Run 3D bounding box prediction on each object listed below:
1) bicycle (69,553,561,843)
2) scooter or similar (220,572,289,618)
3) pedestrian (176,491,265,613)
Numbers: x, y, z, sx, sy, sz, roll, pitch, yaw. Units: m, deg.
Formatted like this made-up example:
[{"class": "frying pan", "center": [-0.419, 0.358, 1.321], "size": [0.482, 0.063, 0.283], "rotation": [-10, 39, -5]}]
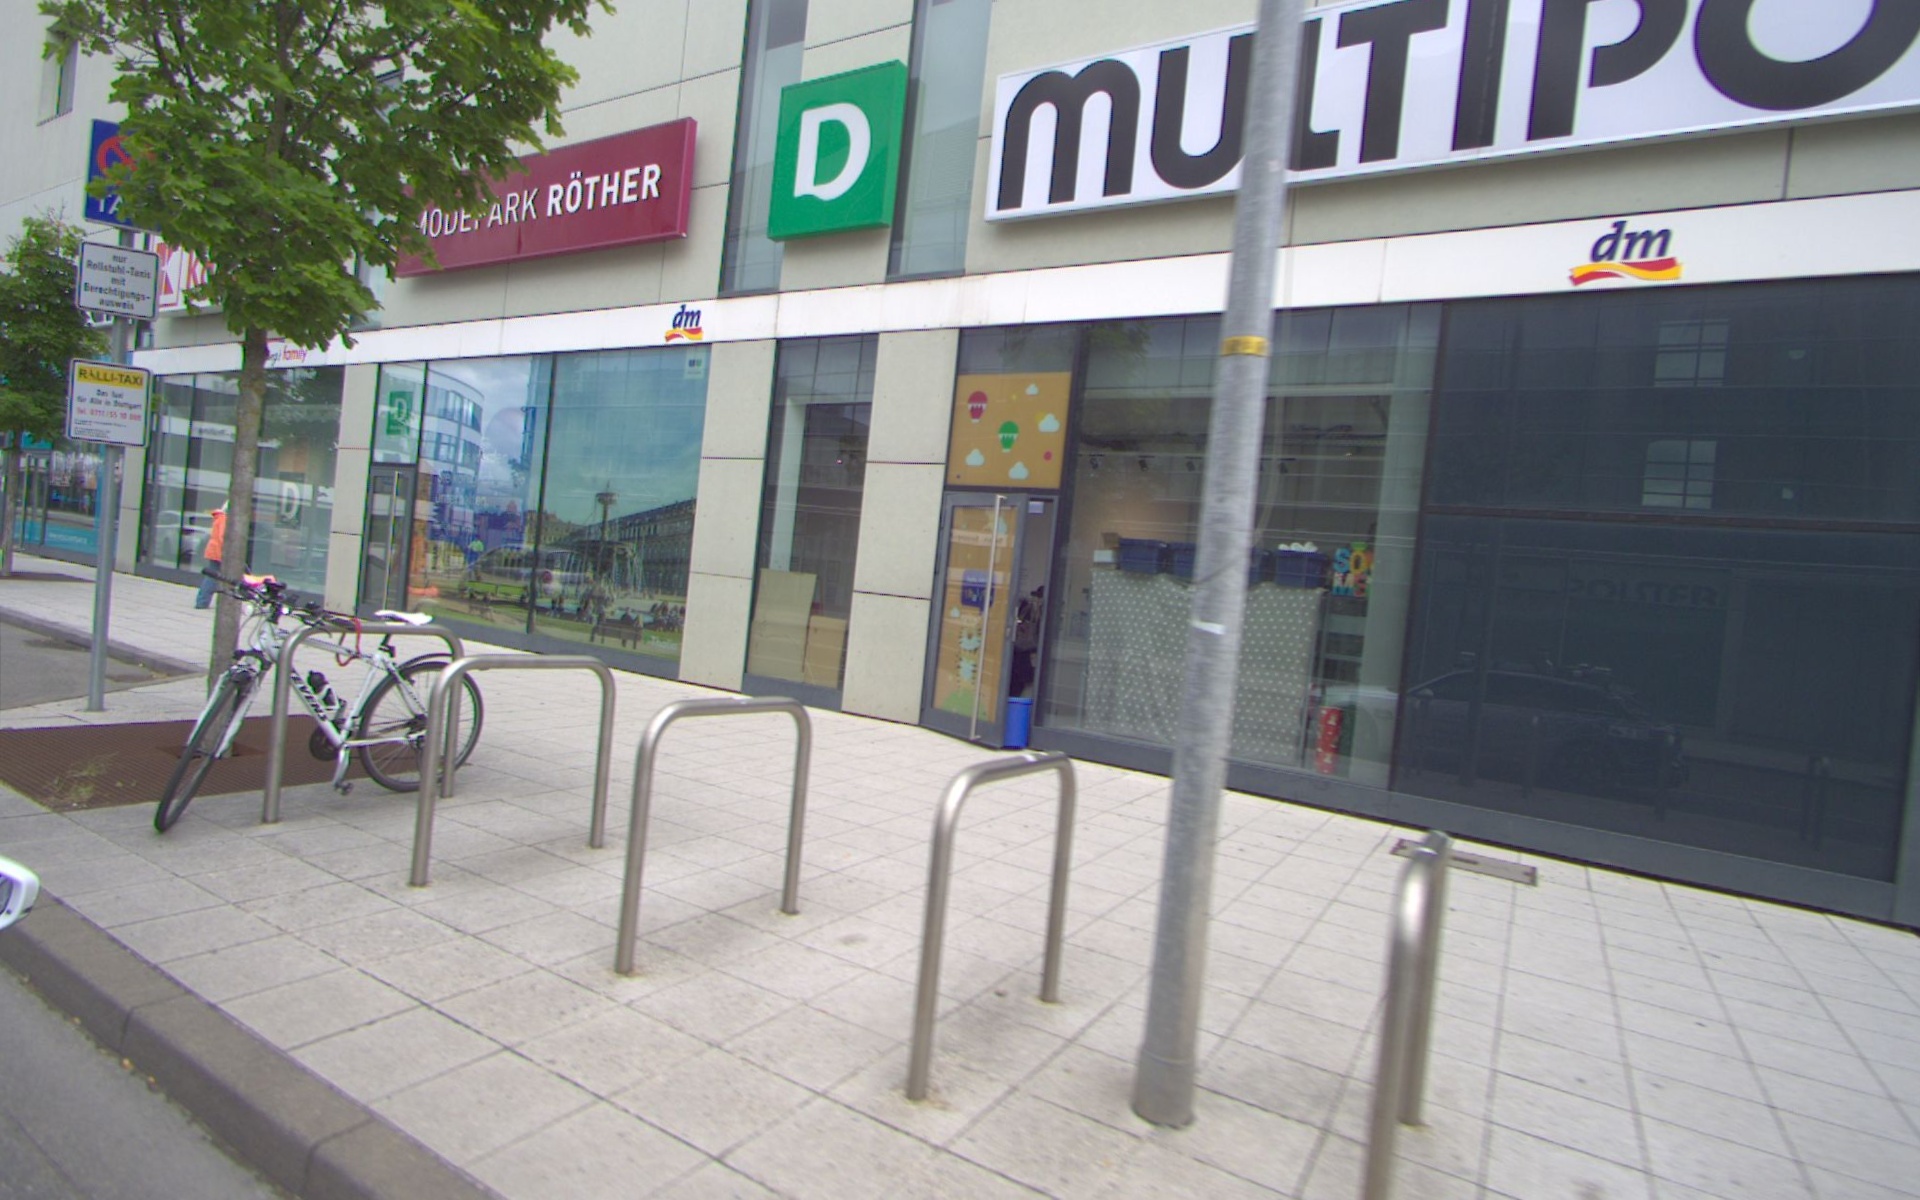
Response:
[{"class": "bicycle", "center": [-3.006, 0.419, 4.911], "size": [0.739, 1.088, 1.827], "rotation": [7, 1, 30]}, {"class": "scooter or similar", "center": [-9.643, -0.064, 13.749], "size": [0.632, 0.554, 0.550], "rotation": [7, 3, 32]}, {"class": "pedestrian", "center": [-10.321, -0.662, 14.041], "size": [0.799, 1.596, 0.710], "rotation": [7, 4, 32]}]
